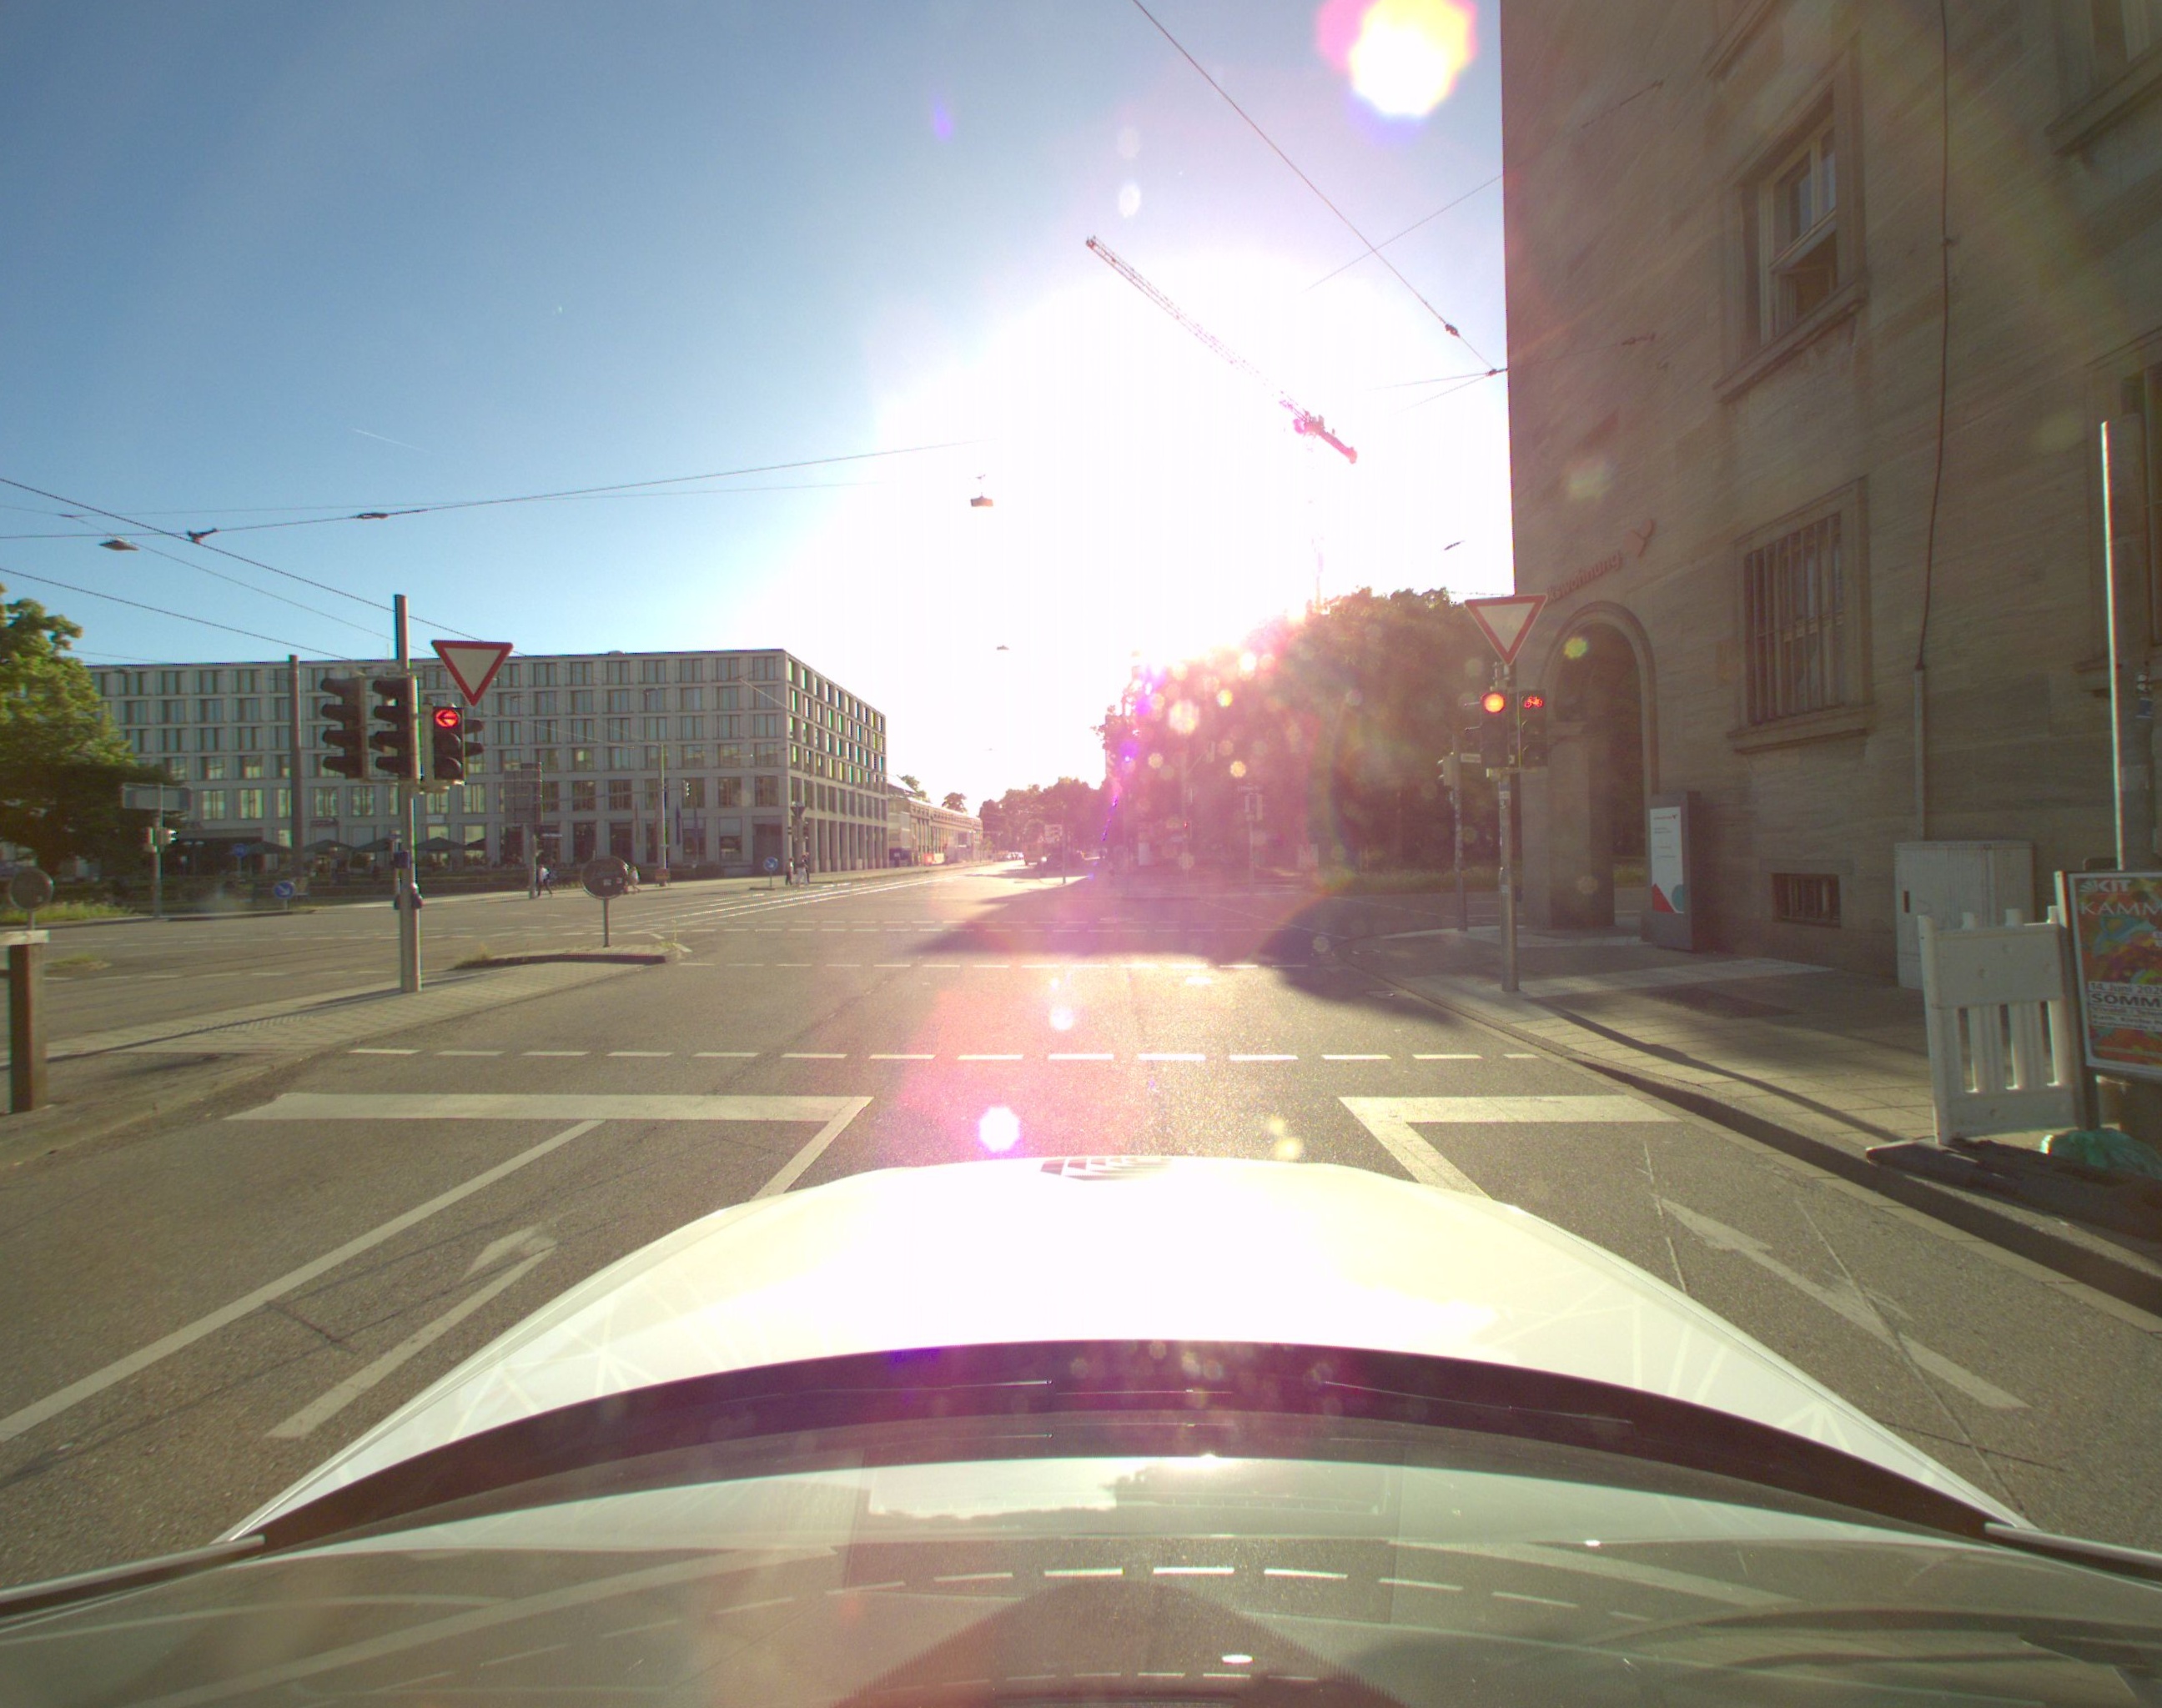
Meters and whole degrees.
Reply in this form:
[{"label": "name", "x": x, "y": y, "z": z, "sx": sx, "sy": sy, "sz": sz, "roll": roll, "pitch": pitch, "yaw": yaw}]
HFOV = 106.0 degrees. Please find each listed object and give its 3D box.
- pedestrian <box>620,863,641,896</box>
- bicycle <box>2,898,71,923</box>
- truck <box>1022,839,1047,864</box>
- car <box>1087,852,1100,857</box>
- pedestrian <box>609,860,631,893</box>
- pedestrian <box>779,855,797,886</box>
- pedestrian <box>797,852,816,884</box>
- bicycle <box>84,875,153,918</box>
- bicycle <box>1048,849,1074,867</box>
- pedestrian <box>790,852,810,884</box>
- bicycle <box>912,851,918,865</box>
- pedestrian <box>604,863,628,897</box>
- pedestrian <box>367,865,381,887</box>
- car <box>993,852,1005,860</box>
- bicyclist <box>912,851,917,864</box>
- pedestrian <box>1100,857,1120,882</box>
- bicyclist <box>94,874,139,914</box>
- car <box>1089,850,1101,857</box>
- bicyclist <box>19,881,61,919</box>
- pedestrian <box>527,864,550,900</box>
[{"label": "pedestrian", "x": -24.957, "y": 1.405, "z": 45.118, "sx": 0.865, "sy": 1.803, "sz": 0.533, "roll": -2, "pitch": 0, "yaw": 7}, {"label": "bicycle", "x": -44.747, "y": 2.413, "z": 34.903, "sx": 2.059, "sy": 0.933, "sz": 0.574, "roll": -2, "pitch": 0, "yaw": -3}, {"label": "truck", "x": -5.867, "y": -0.309, "z": 104.278, "sx": 2.707, "sy": 3.016, "sz": 6.489, "roll": -1, "pitch": 0, "yaw": 0}, {"label": "car", "x": 3.211, "y": 0.064, "z": 211.451, "sx": 3.207, "sy": 1.263, "sz": 1.373, "roll": 0, "pitch": -1, "yaw": 0}, {"label": "pedestrian", "x": -25.847, "y": 1.247, "z": 45.696, "sx": 0.735, "sy": 1.803, "sz": 0.717, "roll": -2, "pitch": 0, "yaw": 7}, {"label": "pedestrian", "x": -16.062, "y": 0.892, "z": 44.705, "sx": 0.691, "sy": 1.644, "sz": 0.622, "roll": -2, "pitch": 0, "yaw": 2}, {"label": "pedestrian", "x": -15.313, "y": 0.779, "z": 45.382, "sx": 0.744, "sy": 1.761, "sz": 0.679, "roll": -2, "pitch": -1, "yaw": 6}, {"label": "bicycle", "x": -41.070, "y": 1.803, "z": 34.760, "sx": 1.898, "sy": 1.735, "sz": 0.595, "roll": -2, "pitch": 0, "yaw": -11}, {"label": "bicycle", "x": -2.036, "y": 0.374, "z": 81.575, "sx": 2.538, "sy": 1.744, "sz": 1.038, "roll": 0, "pitch": -1, "yaw": 1}, {"label": "pedestrian", "x": -14.791, "y": 0.746, "z": 42.904, "sx": 0.790, "sy": 1.644, "sz": 0.621, "roll": -2, "pitch": 0, "yaw": -3}, {"label": "bicycle", "x": -26.755, "y": 0.627, "z": 131.113, "sx": 0.569, "sy": 2.296, "sz": 1.422, "roll": -2, "pitch": 0, "yaw": 0}, {"label": "pedestrian", "x": -25.431, "y": 1.425, "z": 44.574, "sx": 0.865, "sy": 1.803, "sz": 0.665, "roll": -2, "pitch": 0, "yaw": 7}, {"label": "pedestrian", "x": -53.055, "y": 1.630, "z": 61.148, "sx": 0.538, "sy": 1.669, "sz": 0.561, "roll": 0, "pitch": -1, "yaw": -2}, {"label": "car", "x": -15.745, "y": 0.381, "z": 157.035, "sx": 1.888, "sy": 1.607, "sz": 4.499, "roll": -2, "pitch": 0, "yaw": 0}, {"label": "bicyclist", "x": -26.758, "y": 0.511, "z": 131.085, "sx": 0.569, "sy": 2.024, "sz": 0.762, "roll": -2, "pitch": 0, "yaw": 0}, {"label": "pedestrian", "x": 1.564, "y": 0.821, "z": 43.685, "sx": 0.989, "sy": 1.317, "sz": 0.768, "roll": -2, "pitch": 0, "yaw": 4}, {"label": "bicyclist", "x": -41.134, "y": 1.682, "z": 34.747, "sx": 1.075, "sy": 1.641, "sz": 0.595, "roll": -2, "pitch": 0, "yaw": -11}, {"label": "car", "x": 3.674, "y": -0.145, "z": 213.655, "sx": 3.207, "sy": 1.588, "sz": 1.445, "roll": 0, "pitch": -1, "yaw": -3}, {"label": "bicyclist", "x": -44.622, "y": 1.952, "z": 34.907, "sx": 0.972, "sy": 1.560, "sz": 0.574, "roll": -2, "pitch": 0, "yaw": -3}, {"label": "pedestrian", "x": -29.337, "y": 1.505, "z": 44.057, "sx": 0.797, "sy": 1.918, "sz": 0.638, "roll": -2, "pitch": 0, "yaw": 7}]
